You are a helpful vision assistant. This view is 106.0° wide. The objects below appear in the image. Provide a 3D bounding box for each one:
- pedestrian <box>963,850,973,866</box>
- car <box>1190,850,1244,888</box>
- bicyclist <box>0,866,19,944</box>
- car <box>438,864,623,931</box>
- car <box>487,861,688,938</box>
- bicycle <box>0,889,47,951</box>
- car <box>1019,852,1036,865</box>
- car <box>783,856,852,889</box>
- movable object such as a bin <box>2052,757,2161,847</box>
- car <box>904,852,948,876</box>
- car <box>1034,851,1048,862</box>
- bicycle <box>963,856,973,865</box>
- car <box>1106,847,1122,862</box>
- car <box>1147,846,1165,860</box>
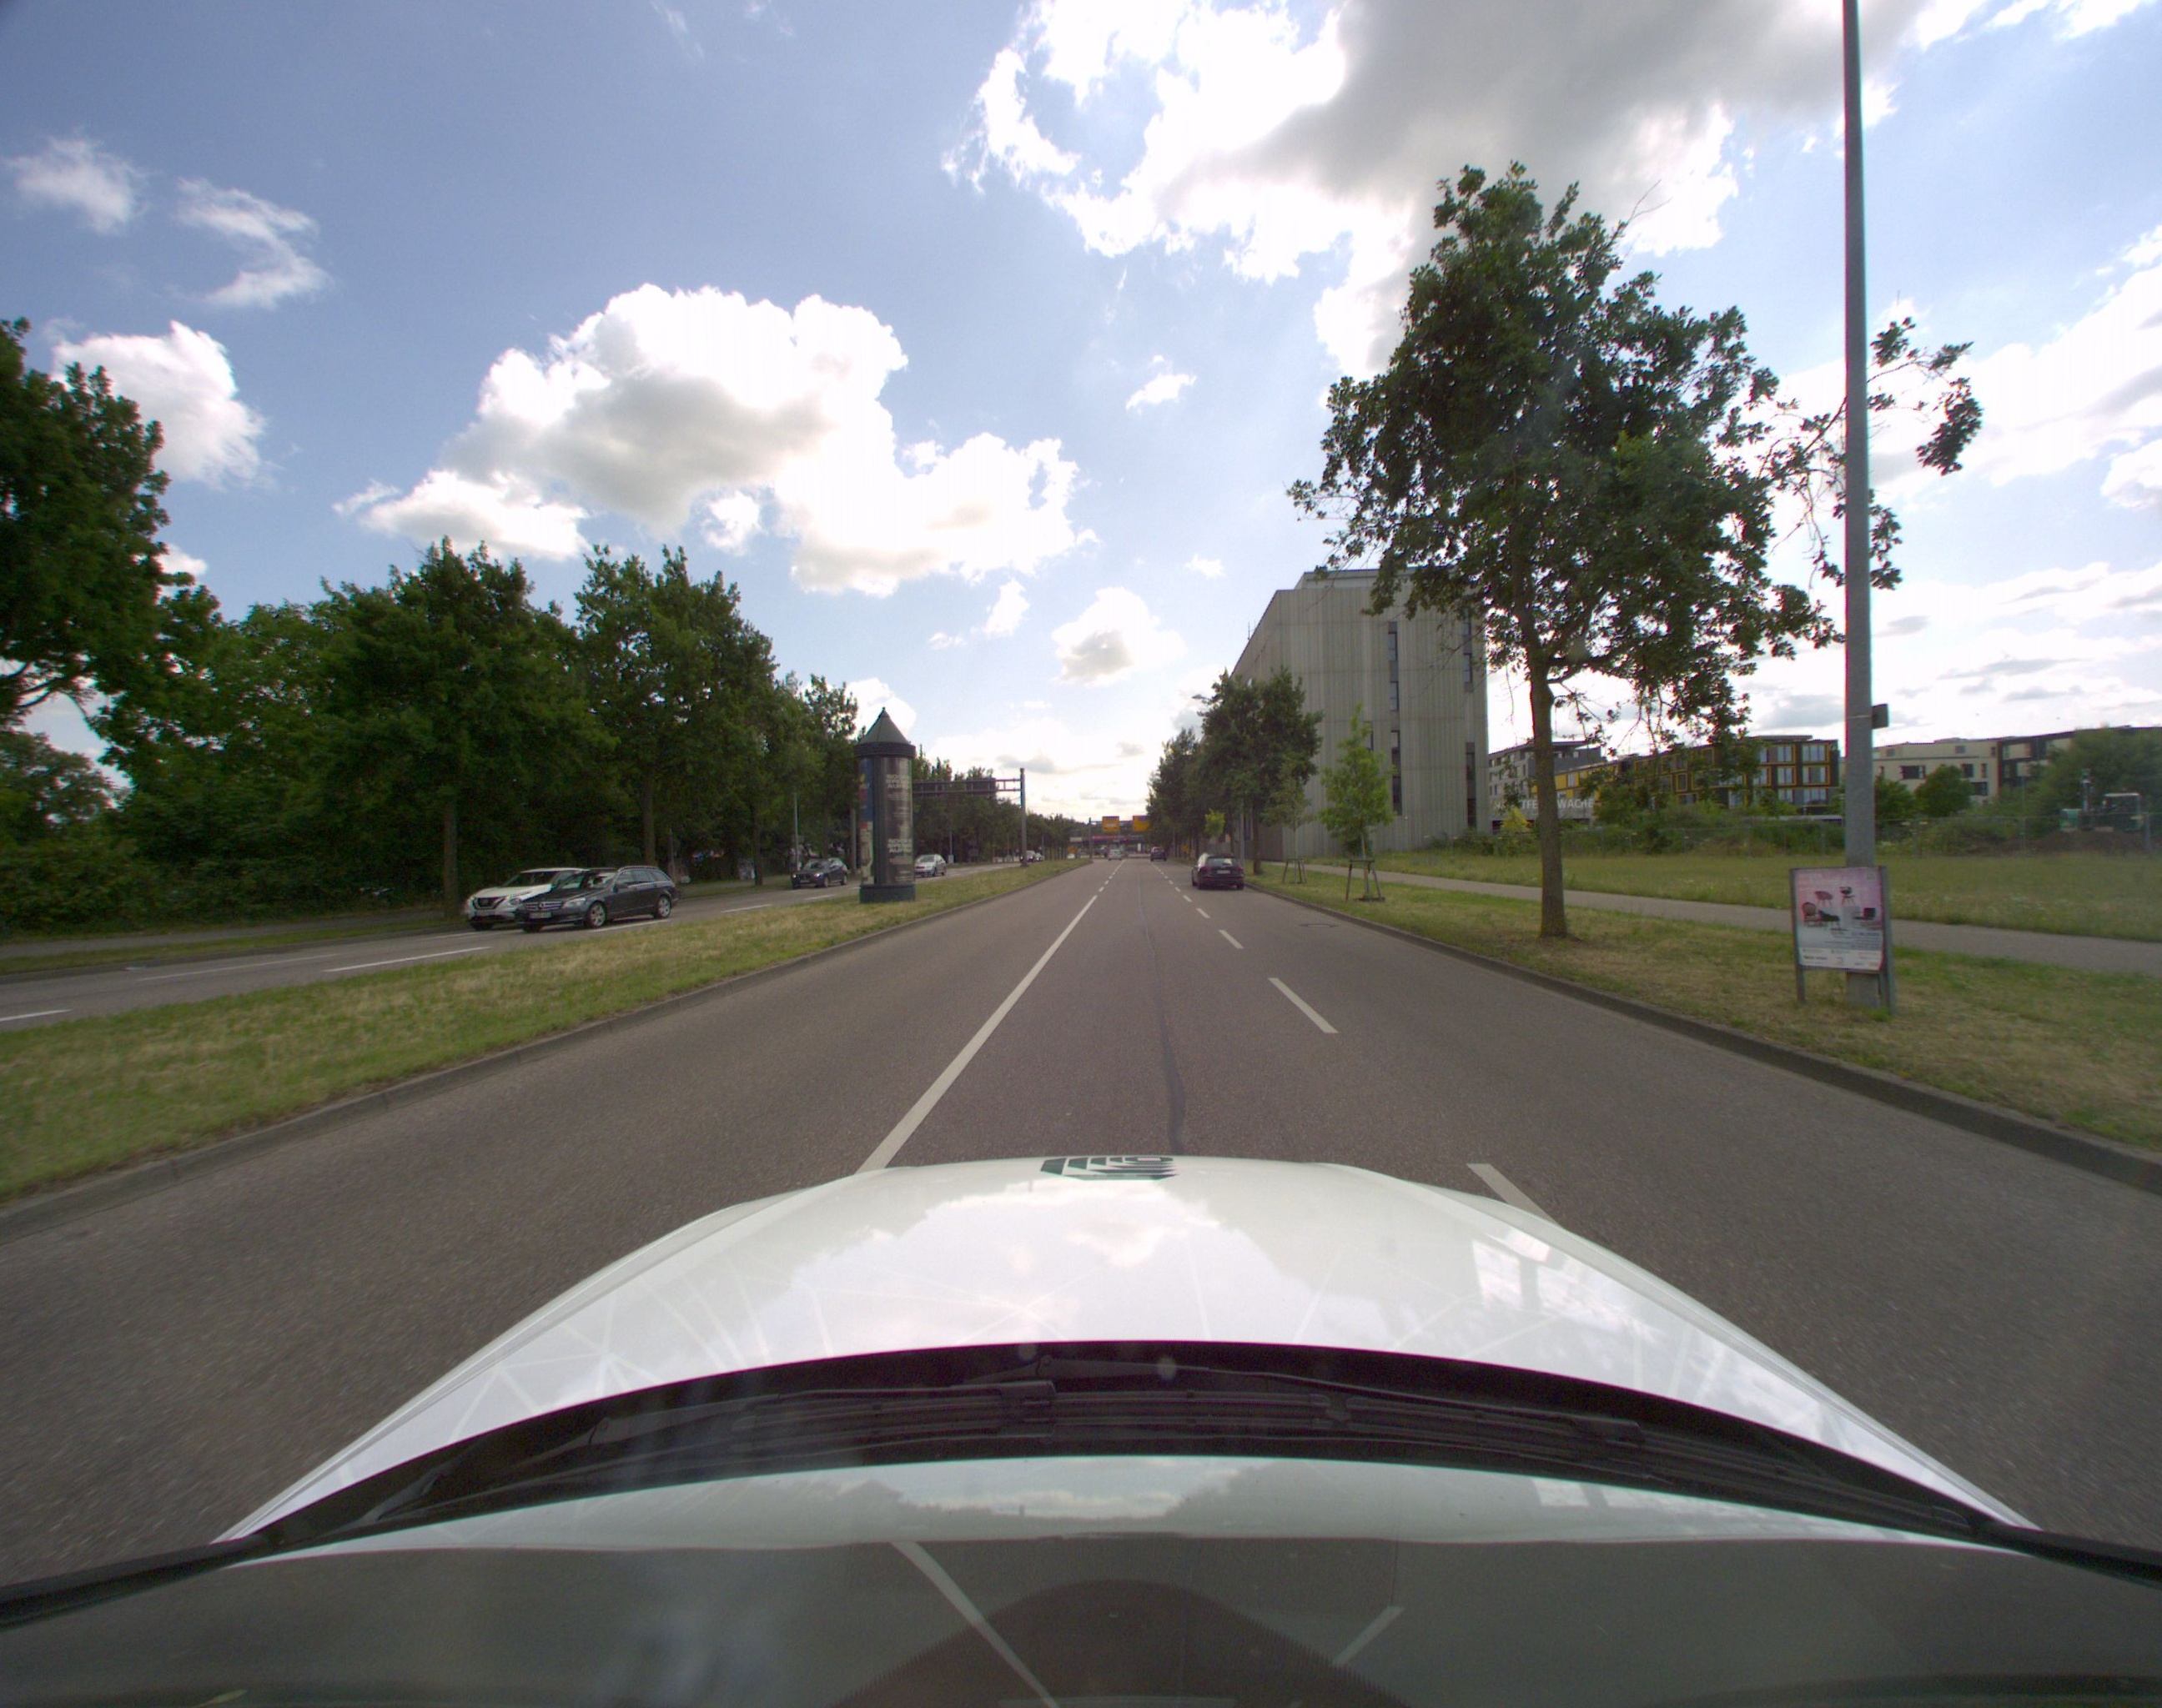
[{"bbox_3d":[-14.856,0.509,106.937,0.966,2.013,1.250,-1,0,2],"label":"pedestrian"},{"bbox_3d":[5.460,0.576,33.037,1.677,1.463,4.003,0,0,3],"label":"car"},{"bbox_3d":[-22.107,1.018,16.181,0.826,1.565,0.884,1,0,3],"label":"bicyclist"},{"bbox_3d":[-15.046,1.119,22.605,1.902,1.540,4.372,-2,0,3],"label":"car"},{"bbox_3d":[-12.160,1.030,20.557,1.715,1.591,5.018,-2,0,4],"label":"car"},{"bbox_3d":[-22.124,1.343,16.084,0.757,1.219,2.018,1,0,3],"label":"bicycle"},{"bbox_3d":[-6.938,0.615,106.552,1.735,1.569,4.277,-3,0,2],"label":"car"},{"bbox_3d":[-14.094,0.931,43.854,1.756,1.577,5.036,-2,0,3],"label":"car"},{"bbox_3d":[50.812,-2.393,40.331,7.659,3.853,3.012,1,-2,-43],"label":"movable object such as a bin"},{"bbox_3d":[-10.145,0.634,53.712,1.755,1.440,4.314,-2,0,4],"label":"car"},{"bbox_3d":[-6.381,0.388,130.413,1.734,1.545,4.578,-3,0,4],"label":"car"},{"bbox_3d":[-14.830,0.840,106.821,0.804,1.226,2.505,-1,0,4],"label":"bicycle"},{"bbox_3d":[4.440,0.062,109.393,1.986,2.013,4.001,0,0,1],"label":"car"},{"bbox_3d":[8.920,-0.149,96.750,1.984,1.626,4.316,-1,0,5],"label":"car"}]
